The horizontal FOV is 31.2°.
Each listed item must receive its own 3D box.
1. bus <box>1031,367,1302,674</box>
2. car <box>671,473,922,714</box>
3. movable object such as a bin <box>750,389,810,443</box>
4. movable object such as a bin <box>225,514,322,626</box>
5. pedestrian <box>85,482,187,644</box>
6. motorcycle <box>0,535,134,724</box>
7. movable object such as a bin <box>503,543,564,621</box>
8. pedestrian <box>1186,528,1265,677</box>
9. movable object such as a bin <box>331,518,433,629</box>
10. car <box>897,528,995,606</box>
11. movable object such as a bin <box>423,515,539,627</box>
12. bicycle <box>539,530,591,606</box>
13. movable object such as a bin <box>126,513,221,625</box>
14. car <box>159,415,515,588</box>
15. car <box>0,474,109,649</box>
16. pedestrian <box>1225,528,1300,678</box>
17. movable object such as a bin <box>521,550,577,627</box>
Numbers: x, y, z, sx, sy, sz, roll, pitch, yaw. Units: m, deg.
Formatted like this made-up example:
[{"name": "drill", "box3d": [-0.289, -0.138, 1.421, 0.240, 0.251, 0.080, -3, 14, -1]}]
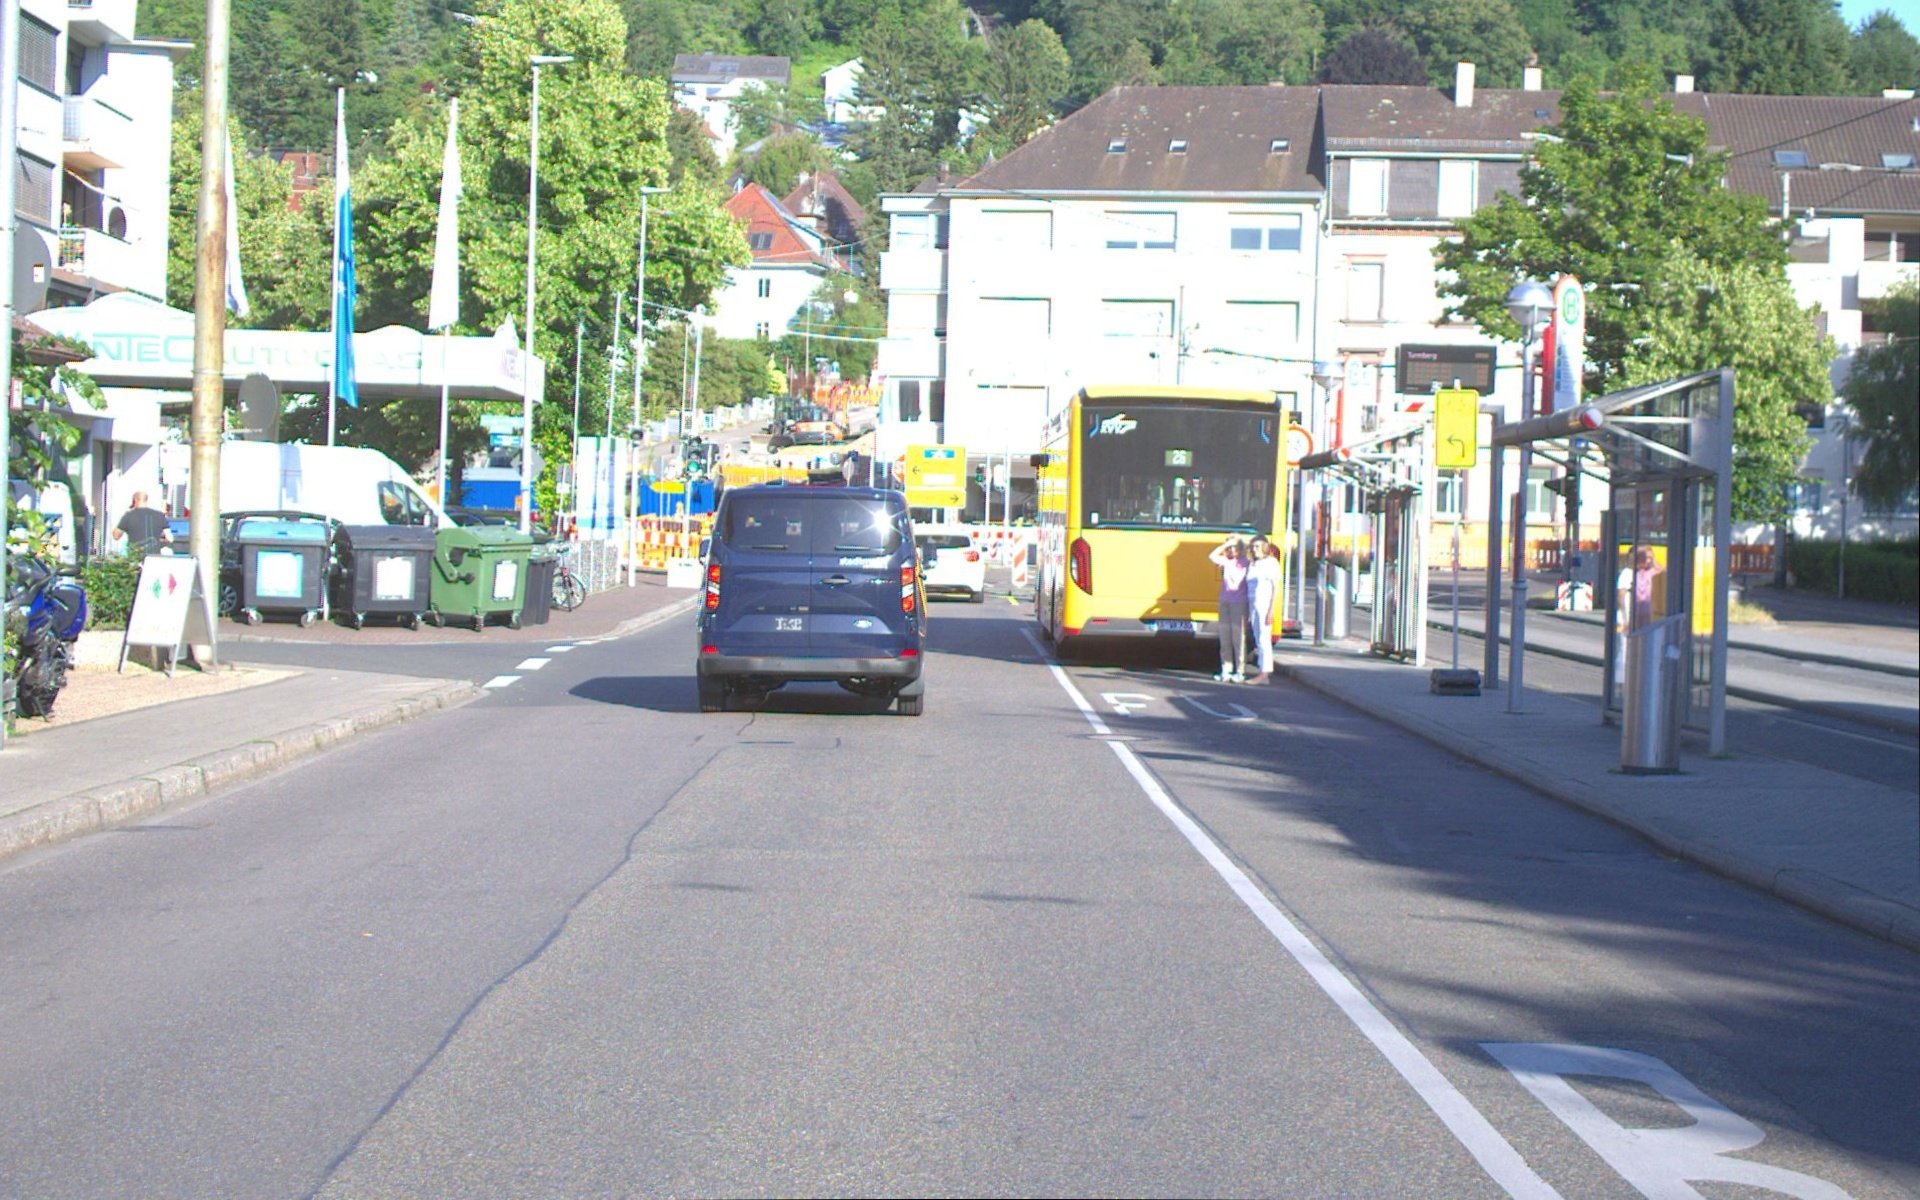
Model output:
[{"name": "bus", "box3d": [2.458, -1.082, 44.932, 2.688, 3.404, 12.019, 1, 2, 0]}, {"name": "car", "box3d": [-1.395, -0.102, 31.265, 2.062, 2.007, 5.000, 0, 1, 0]}, {"name": "movable object such as a bin", "box3d": [-9.480, -9.666, 181.083, 2.192, 2.681, 3.998, 2, 2, 11]}, {"name": "movable object such as a bin", "box3d": [-9.506, -0.423, 47.634, 1.218, 1.477, 0.704, 1, 4, -5]}, {"name": "pedestrian", "box3d": [-9.640, -0.437, 40.218, 0.818, 1.861, 0.794, 2, 2, 25]}, {"name": "motorcycle", "box3d": [-6.636, 0.186, 24.904, 0.839, 1.278, 2.233, 2, 1, -3]}, {"name": "movable object such as a bin", "box3d": [-6.187, -0.268, 49.894, 0.660, 1.059, 0.585, 4, 4, 12]}, {"name": "pedestrian", "box3d": [2.911, 0.021, 37.713, 0.544, 1.607, 0.636, 1, 1, -37]}, {"name": "movable object such as a bin", "box3d": [-8.052, -0.379, 47.900, 1.218, 1.477, 0.704, -1, 5, -29]}, {"name": "car", "box3d": [-0.247, -0.660, 66.498, 1.794, 1.405, 4.000, 2, 1, 0]}, {"name": "movable object such as a bin", "box3d": [-6.822, -0.424, 48.983, 1.056, 1.477, 1.310, 4, 5, 28]}, {"name": "bicycle", "box3d": [-6.413, -0.529, 55.739, 0.723, 1.174, 1.781, 1, 1, -9]}, {"name": "movable object such as a bin", "box3d": [-10.872, -0.439, 47.547, 1.177, 1.477, 0.704, 1, 4, -5]}, {"name": "car", "box3d": [-9.678, -1.515, 53.387, 5.054, 2.461, 2.109, 2, 1, -22]}, {"name": "car", "box3d": [-12.251, -0.488, 39.173, 4.614, 1.926, 2.000, 1, 1, -2]}, {"name": "pedestrian", "box3d": [3.286, 0.028, 37.334, 0.544, 1.607, 0.549, 1, 1, -38]}, {"name": "movable object such as a bin", "box3d": [-6.038, -0.179, 50.512, 0.640, 1.065, 0.580, 2, 5, 12]}]
